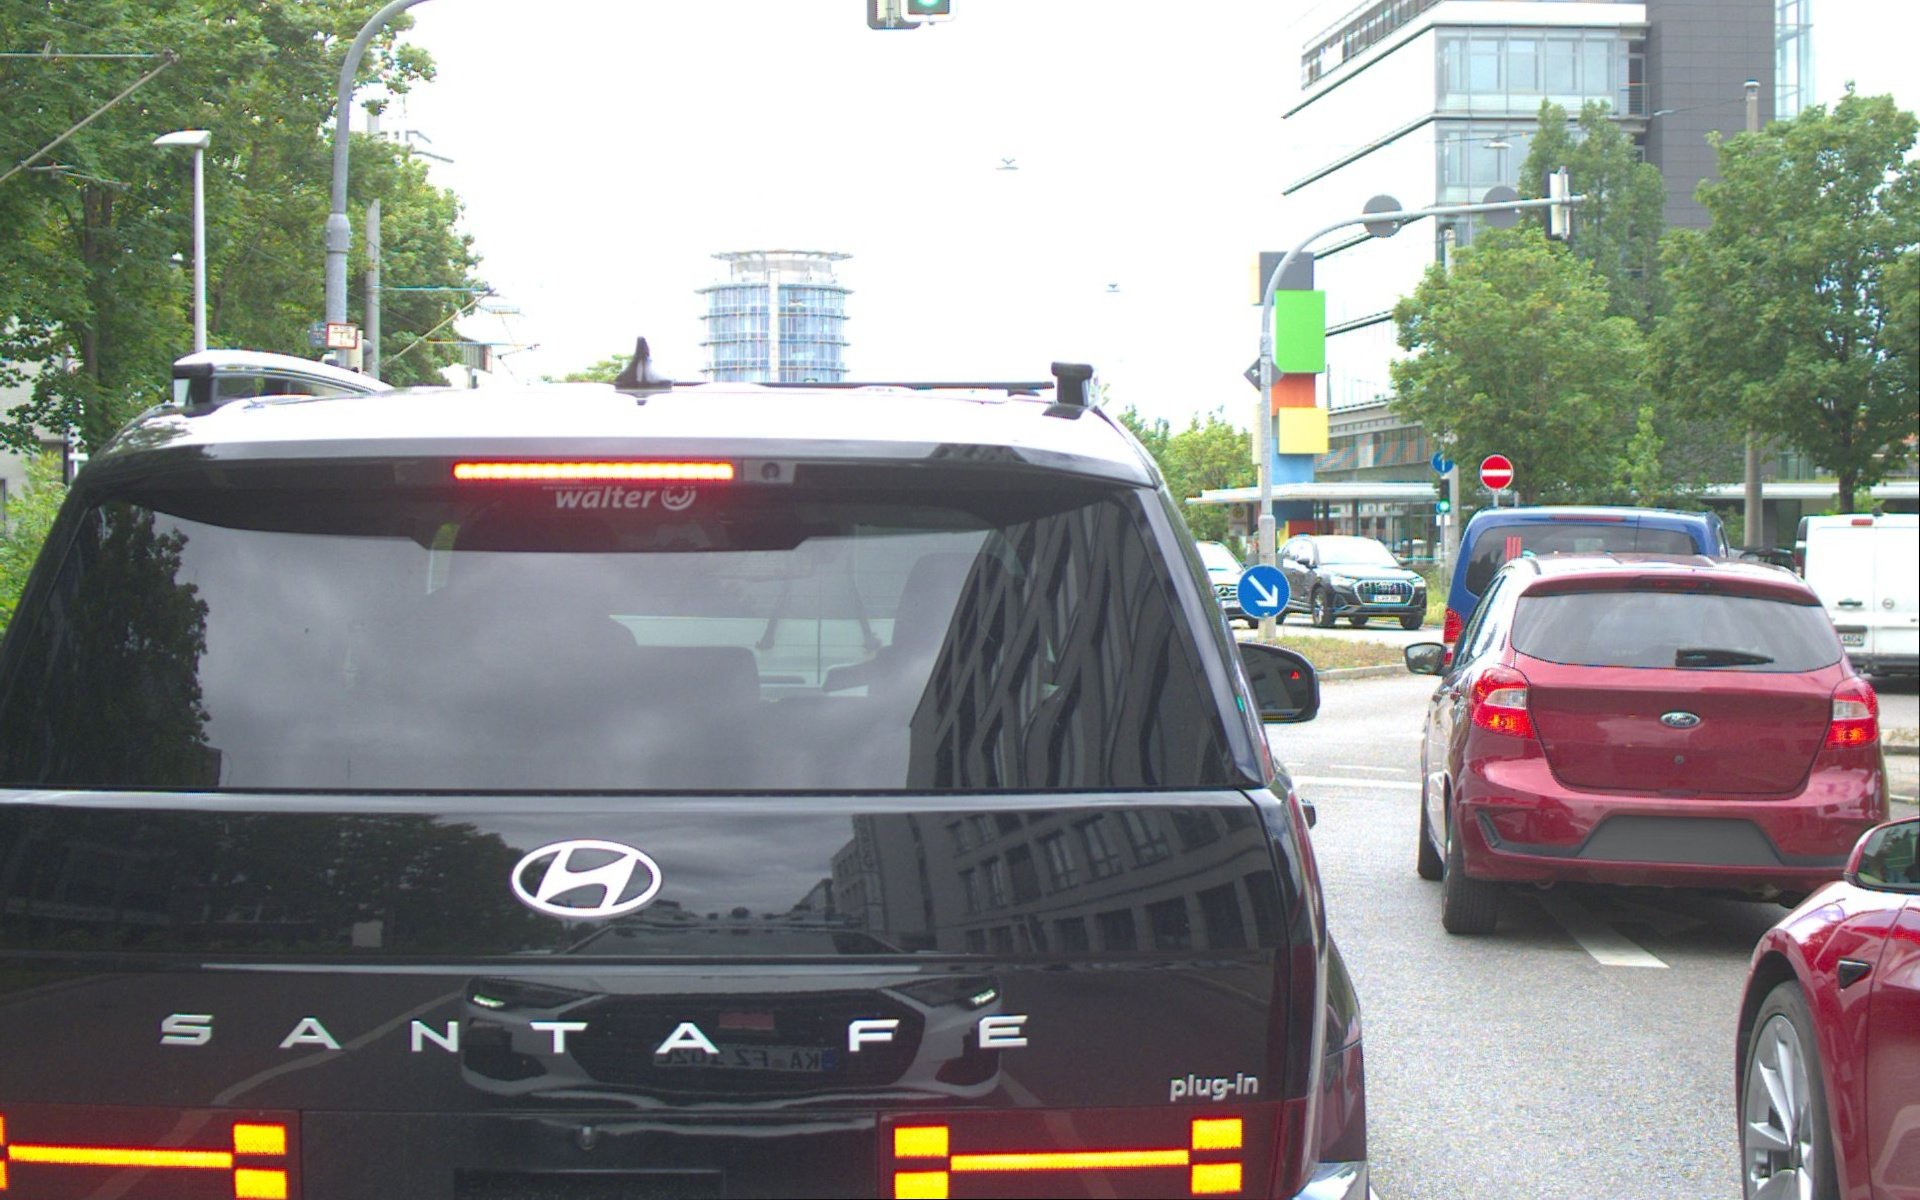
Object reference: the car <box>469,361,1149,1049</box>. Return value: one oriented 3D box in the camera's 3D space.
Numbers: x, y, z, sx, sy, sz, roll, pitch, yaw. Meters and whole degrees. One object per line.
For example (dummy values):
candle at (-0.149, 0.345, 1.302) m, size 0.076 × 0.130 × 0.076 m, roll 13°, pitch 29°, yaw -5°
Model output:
car at (-0.324, 0.260, 12.405) m, size 1.902 × 1.962 × 4.635 m, roll 2°, pitch 1°, yaw 4°

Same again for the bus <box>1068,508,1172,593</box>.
bus at (6.144, -1.878, 133.224) m, size 2.966 × 3.106 × 9.245 m, roll -1°, pitch 0°, yaw -4°

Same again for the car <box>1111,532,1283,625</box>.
car at (3.995, -0.395, 58.675) m, size 1.782 × 1.421 × 4.397 m, roll 1°, pitch 2°, yaw -11°

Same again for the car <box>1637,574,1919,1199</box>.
car at (2.437, 0.726, 4.935) m, size 1.873 × 1.413 × 4.443 m, roll 2°, pitch 1°, yaw -2°

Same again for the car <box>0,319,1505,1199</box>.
car at (-0.436, 0.544, 5.781) m, size 1.902 × 1.725 × 4.446 m, roll 2°, pitch 1°, yaw -1°

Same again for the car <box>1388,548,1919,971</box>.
car at (2.780, 0.548, 14.330) m, size 1.745 × 1.476 × 3.718 m, roll 1°, pitch 1°, yaw 4°

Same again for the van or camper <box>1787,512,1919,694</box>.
van or camper at (10.814, -0.020, 38.806) m, size 1.996 × 1.911 × 4.403 m, roll 2°, pitch 2°, yaw 25°

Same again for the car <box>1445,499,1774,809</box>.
car at (4.558, 0.294, 23.603) m, size 1.903 × 1.852 × 4.706 m, roll 2°, pitch 1°, yaw 14°

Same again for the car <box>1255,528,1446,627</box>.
car at (6.761, -0.423, 59.974) m, size 1.887 × 1.559 × 4.397 m, roll 1°, pitch 2°, yaw -13°
